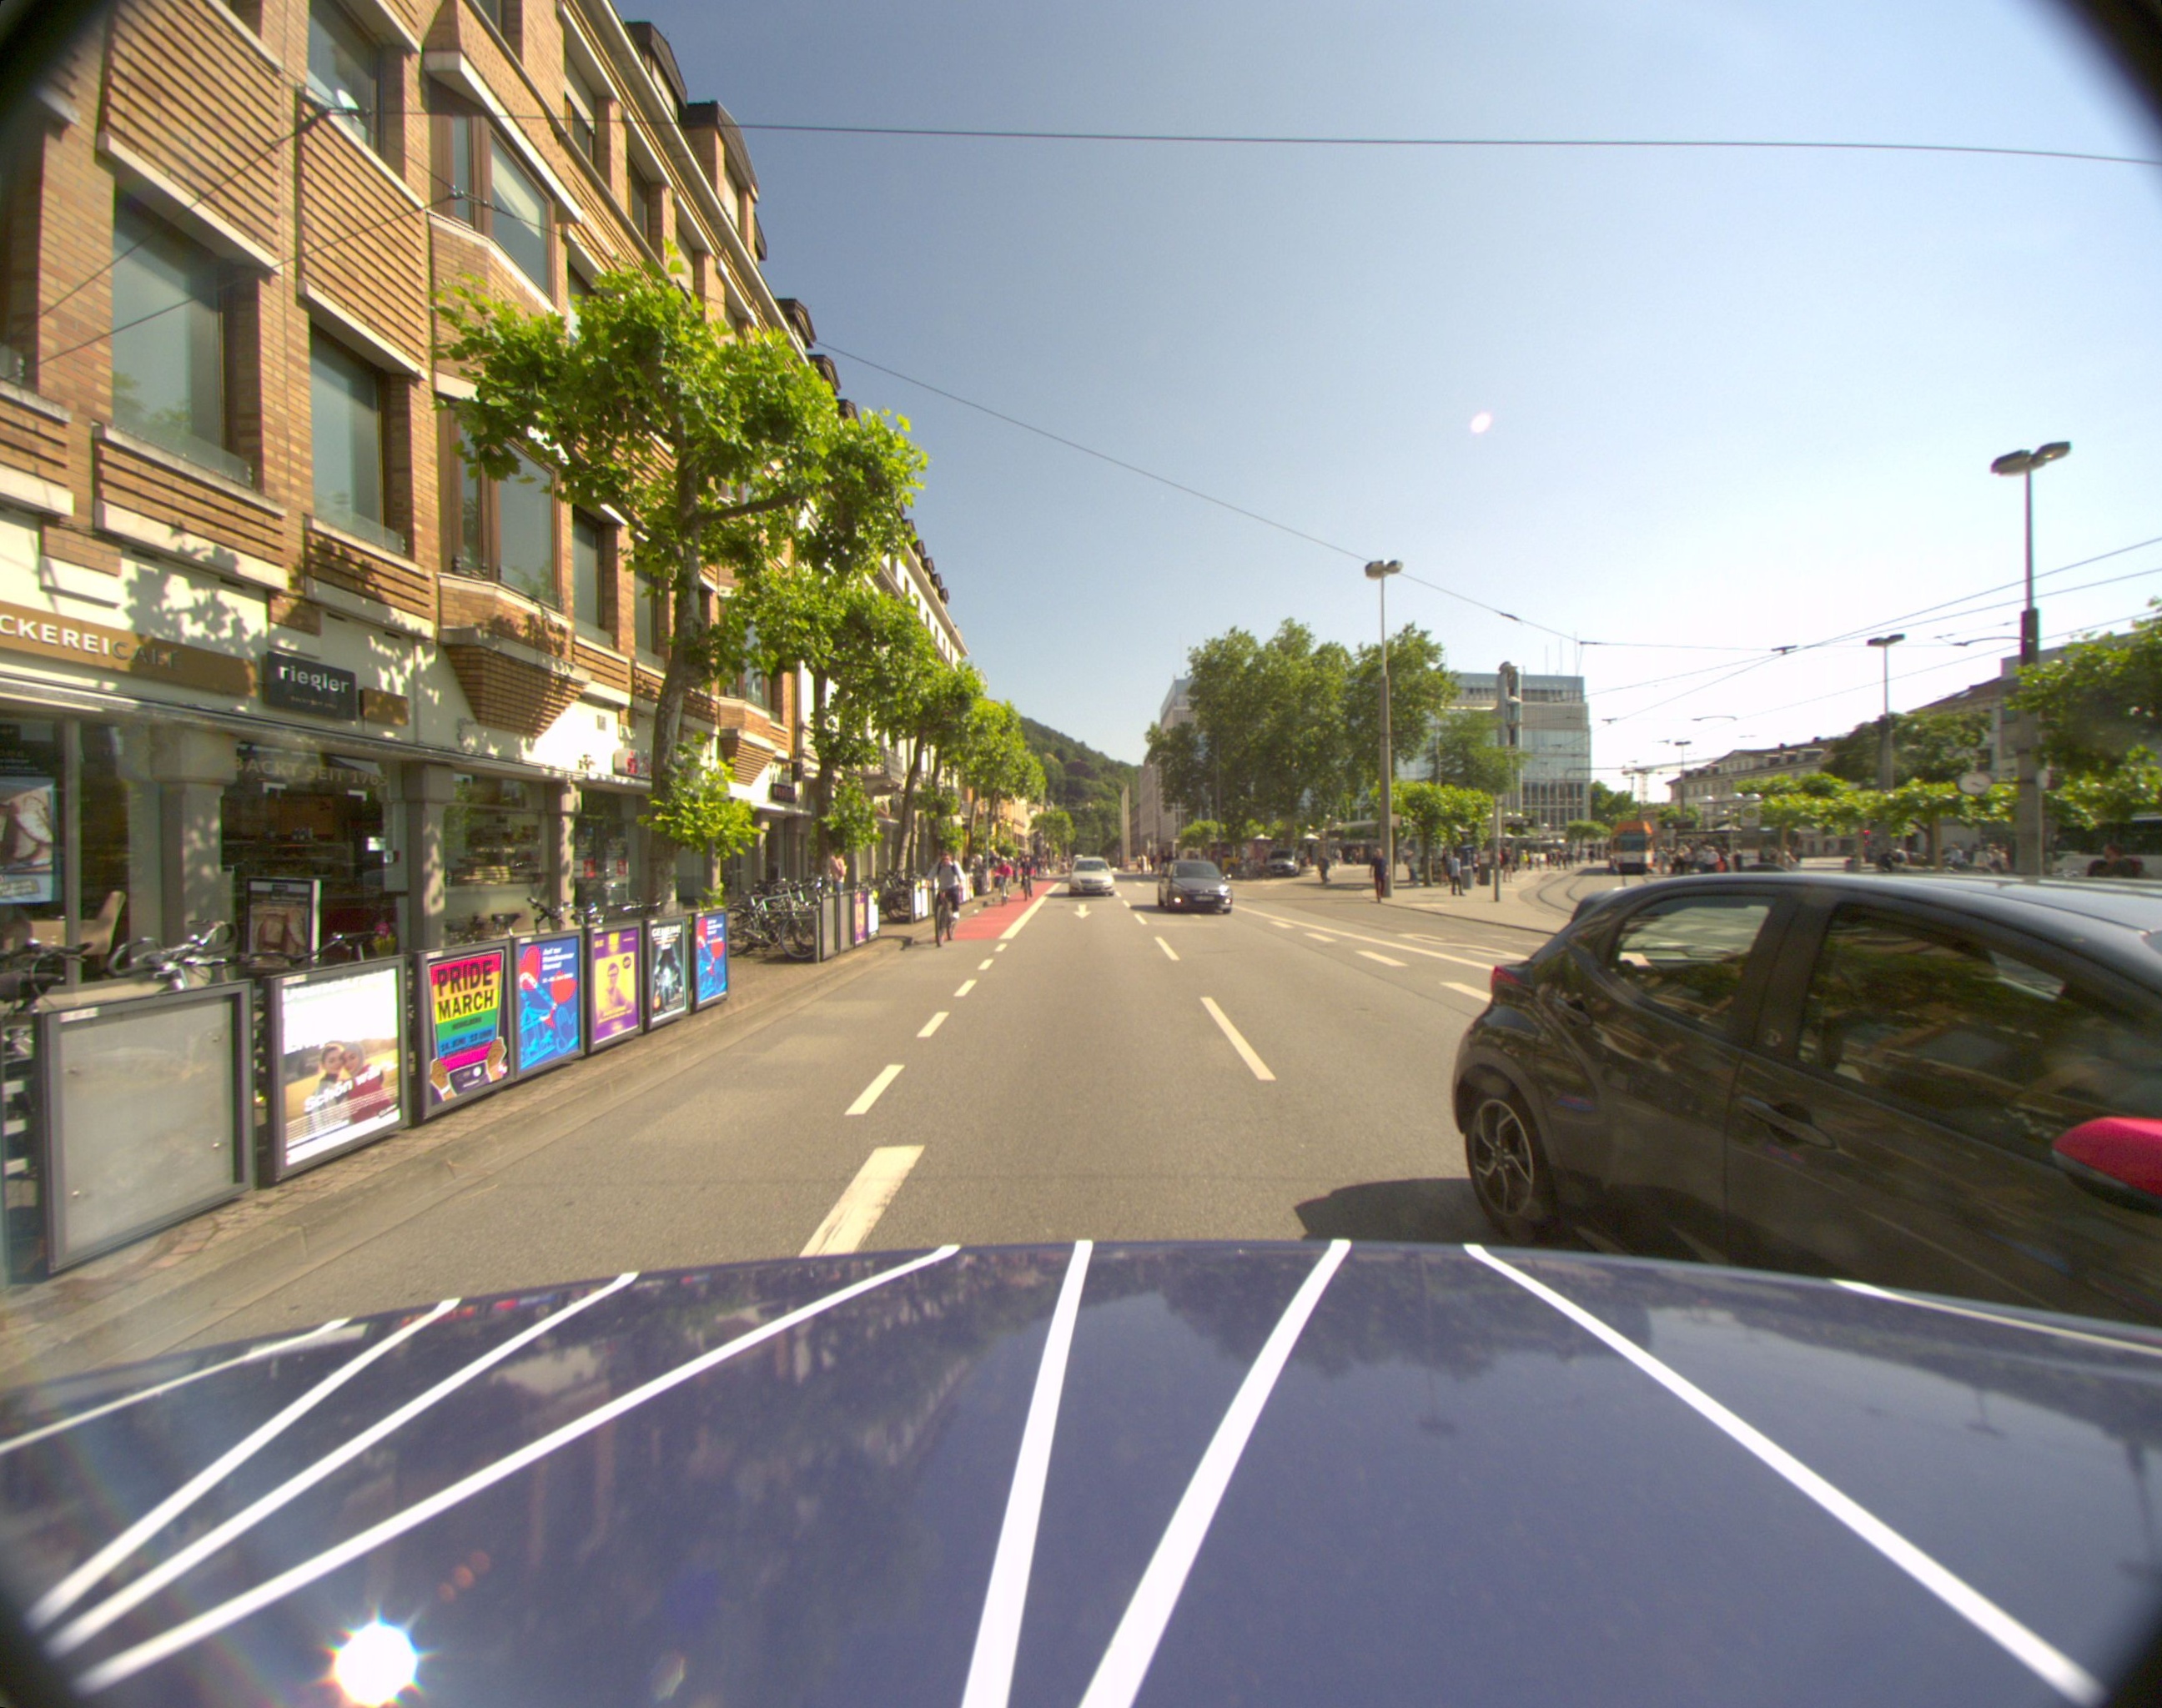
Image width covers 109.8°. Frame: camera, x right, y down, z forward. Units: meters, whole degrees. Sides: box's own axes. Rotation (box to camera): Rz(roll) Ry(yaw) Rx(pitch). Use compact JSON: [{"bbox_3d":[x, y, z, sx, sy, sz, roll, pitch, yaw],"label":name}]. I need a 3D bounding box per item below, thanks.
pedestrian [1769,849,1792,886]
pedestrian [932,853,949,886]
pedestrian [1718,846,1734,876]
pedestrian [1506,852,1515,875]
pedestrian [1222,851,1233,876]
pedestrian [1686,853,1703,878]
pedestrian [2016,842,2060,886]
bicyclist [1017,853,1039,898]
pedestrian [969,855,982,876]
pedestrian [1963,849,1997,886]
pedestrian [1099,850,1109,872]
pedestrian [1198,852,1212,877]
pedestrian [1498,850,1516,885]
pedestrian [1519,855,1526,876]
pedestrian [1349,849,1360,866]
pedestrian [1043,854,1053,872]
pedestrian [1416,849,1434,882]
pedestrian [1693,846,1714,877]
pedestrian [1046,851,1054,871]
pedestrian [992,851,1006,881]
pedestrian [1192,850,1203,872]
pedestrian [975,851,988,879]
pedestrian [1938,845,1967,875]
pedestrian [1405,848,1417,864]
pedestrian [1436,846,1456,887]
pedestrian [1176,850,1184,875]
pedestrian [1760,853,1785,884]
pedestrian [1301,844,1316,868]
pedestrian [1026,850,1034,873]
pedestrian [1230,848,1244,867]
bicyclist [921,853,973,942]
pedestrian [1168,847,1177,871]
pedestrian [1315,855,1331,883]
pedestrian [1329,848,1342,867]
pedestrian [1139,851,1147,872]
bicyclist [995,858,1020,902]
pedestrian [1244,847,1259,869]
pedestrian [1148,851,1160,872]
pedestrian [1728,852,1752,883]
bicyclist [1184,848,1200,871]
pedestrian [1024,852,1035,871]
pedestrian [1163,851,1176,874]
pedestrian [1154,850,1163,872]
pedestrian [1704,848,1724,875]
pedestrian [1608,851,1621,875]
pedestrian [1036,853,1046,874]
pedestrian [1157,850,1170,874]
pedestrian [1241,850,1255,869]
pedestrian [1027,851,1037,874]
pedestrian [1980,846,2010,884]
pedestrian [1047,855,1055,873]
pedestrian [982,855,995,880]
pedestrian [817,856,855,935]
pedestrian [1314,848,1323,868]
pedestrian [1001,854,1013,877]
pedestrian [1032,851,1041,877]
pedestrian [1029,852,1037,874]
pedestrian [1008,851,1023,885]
[{"bbox_3d":[32.712,0.632,35.515,0.561,1.720,0.588,1,0,-22],"label":"pedestrian"},{"bbox_3d":[-7.501,0.821,40.562,0.658,1.686,0.676,-3,1,2],"label":"pedestrian"},{"bbox_3d":[36.853,0.393,43.407,0.559,1.708,0.465,1,0,-22],"label":"pedestrian"},{"bbox_3d":[29.566,0.652,52.274,0.474,1.540,0.493,1,0,25],"label":"pedestrian"},{"bbox_3d":[10.337,0.644,53.627,0.516,1.732,0.518,-3,1,-13],"label":"pedestrian"},{"bbox_3d":[38.939,0.742,48.231,0.681,1.540,0.577,1,0,-26],"label":"pedestrian"},{"bbox_3d":[32.215,0.330,25.584,0.679,1.457,0.625,1,0,6],"label":"pedestrian"},{"bbox_3d":[-1.929,0.769,27.539,0.690,1.567,0.778,-3,1,-3],"label":"bicyclist"},{"bbox_3d":[-8.204,0.889,59.067,0.798,1.638,0.622,-3,1,1],"label":"pedestrian"},{"bbox_3d":[35.863,0.551,30.303,0.681,1.457,0.624,1,0,-15],"label":"pedestrian"},{"bbox_3d":[1.839,0.559,59.976,0.699,1.774,0.578,0,1,-5],"label":"pedestrian"},{"bbox_3d":[8.543,0.715,52.429,0.643,1.682,0.642,-3,1,-13],"label":"pedestrian"},{"bbox_3d":[22.689,0.712,40.500,0.577,1.805,0.605,1,0,0],"label":"pedestrian"},{"bbox_3d":[32.472,0.837,55.938,0.385,1.540,0.412,1,0,25],"label":"pedestrian"},{"bbox_3d":[28.911,0.404,80.290,0.752,1.737,0.782,-3,1,-10],"label":"pedestrian"},{"bbox_3d":[-2.797,0.780,64.838,0.672,1.488,0.637,-3,2,-14],"label":"pedestrian"},{"bbox_3d":[18.915,0.618,41.801,0.626,1.784,0.678,1,0,-42],"label":"pedestrian"},{"bbox_3d":[35.223,0.423,43.002,0.626,1.784,0.679,1,0,-22],"label":"pedestrian"},{"bbox_3d":[-2.891,0.674,71.033,0.578,1.863,0.680,-3,1,-11],"label":"pedestrian"},{"bbox_3d":[-4.361,0.638,40.334,0.606,1.529,0.666,-3,1,-1],"label":"pedestrian"},{"bbox_3d":[9.494,0.568,61.896,0.751,1.737,0.667,-3,1,-1],"label":"pedestrian"},{"bbox_3d":[-6.544,0.729,49.995,0.635,1.782,0.776,-3,1,-2],"label":"pedestrian"},{"bbox_3d":[46.186,0.316,40.272,0.681,1.540,0.846,1,0,-26],"label":"pedestrian"},{"bbox_3d":[36.073,0.196,83.057,0.752,1.737,0.782,-3,1,-10],"label":"pedestrian"},{"bbox_3d":[18.034,0.627,37.532,0.693,1.996,0.564,-2,1,-9],"label":"pedestrian"},{"bbox_3d":[7.272,0.636,55.935,0.517,1.825,0.716,-3,1,8],"label":"pedestrian"},{"bbox_3d":[34.702,0.725,38.141,0.626,1.492,0.679,1,0,-22],"label":"pedestrian"},{"bbox_3d":[17.082,0.156,57.099,0.752,1.737,0.782,-3,1,-10],"label":"pedestrian"},{"bbox_3d":[-3.967,0.545,58.861,0.578,1.774,0.699,0,1,-3],"label":"pedestrian"},{"bbox_3d":[11.894,0.233,58.093,0.752,1.399,0.782,-3,1,-10],"label":"pedestrian"},{"bbox_3d":[-2.468,0.778,14.090,0.750,1.567,0.778,-3,1,-1],"label":"bicyclist"},{"bbox_3d":[7.045,0.389,58.376,0.595,1.835,0.738,0,1,-1],"label":"pedestrian"},{"bbox_3d":[13.150,0.812,41.338,0.624,1.515,0.680,1,0,0],"label":"pedestrian"},{"bbox_3d":[23.091,0.322,68.938,0.752,1.737,0.782,-3,1,-10],"label":"pedestrian"},{"bbox_3d":[5.779,0.724,70.739,0.639,1.903,0.733,-3,1,-1],"label":"pedestrian"},{"bbox_3d":[-2.402,0.851,25.040,0.690,1.388,0.778,-3,1,-1],"label":"bicyclist"},{"bbox_3d":[12.691,0.325,56.476,0.752,1.587,0.782,-3,1,-10],"label":"pedestrian"},{"bbox_3d":[6.233,0.631,65.236,0.876,1.737,0.733,-3,1,-1],"label":"pedestrian"},{"bbox_3d":[34.352,0.695,39.612,0.626,1.588,0.679,1,0,-22],"label":"pedestrian"},{"bbox_3d":[7.785,0.378,53.295,0.831,1.489,1.160,-3,1,-1],"label":"bicyclist"},{"bbox_3d":[-4.991,0.696,73.276,0.733,1.794,0.749,-1,1,23],"label":"pedestrian"},{"bbox_3d":[6.476,0.639,55.551,0.630,1.639,0.753,-3,1,26],"label":"pedestrian"},{"bbox_3d":[6.207,0.559,60.814,0.612,1.737,0.752,-2,1,-1],"label":"pedestrian"},{"bbox_3d":[36.808,0.453,44.162,0.579,1.540,0.679,1,0,-23],"label":"pedestrian"},{"bbox_3d":[34.828,0.573,49.605,0.477,1.540,0.451,1,0,-26],"label":"pedestrian"},{"bbox_3d":[-3.310,0.760,63.536,0.605,1.726,0.647,-3,2,-17],"label":"pedestrian"},{"bbox_3d":[6.227,0.586,57.240,0.537,1.773,0.745,-2,1,35],"label":"pedestrian"},{"bbox_3d":[12.576,0.427,57.255,0.752,1.416,0.673,-3,1,-10],"label":"pedestrian"},{"bbox_3d":[-3.706,0.631,57.496,0.578,1.675,0.622,-3,1,-3],"label":"pedestrian"},{"bbox_3d":[35.358,0.429,29.402,0.526,1.457,0.588,1,0,-19],"label":"pedestrian"},{"bbox_3d":[-2.991,1.016,75.087,0.651,1.770,0.621,0,2,-13],"label":"pedestrian"},{"bbox_3d":[-6.619,0.953,54.362,0.721,1.772,0.776,-3,1,-2],"label":"pedestrian"},{"bbox_3d":[-5.312,0.879,16.450,0.655,1.624,0.729,-3,1,-21],"label":"pedestrian"},{"bbox_3d":[21.492,0.363,68.829,0.638,1.683,0.753,-3,1,23],"label":"pedestrian"},{"bbox_3d":[-5.353,0.820,54.860,0.517,1.574,0.584,-2,1,40],"label":"pedestrian"},{"bbox_3d":[-3.223,0.740,55.394,0.578,1.835,0.717,-3,1,-3],"label":"pedestrian"},{"bbox_3d":[-3.663,0.649,58.132,0.569,1.675,0.591,0,1,-3],"label":"pedestrian"},{"bbox_3d":[-3.729,0.820,43.531,0.702,1.891,0.776,-3,1,-2],"label":"pedestrian"}]
